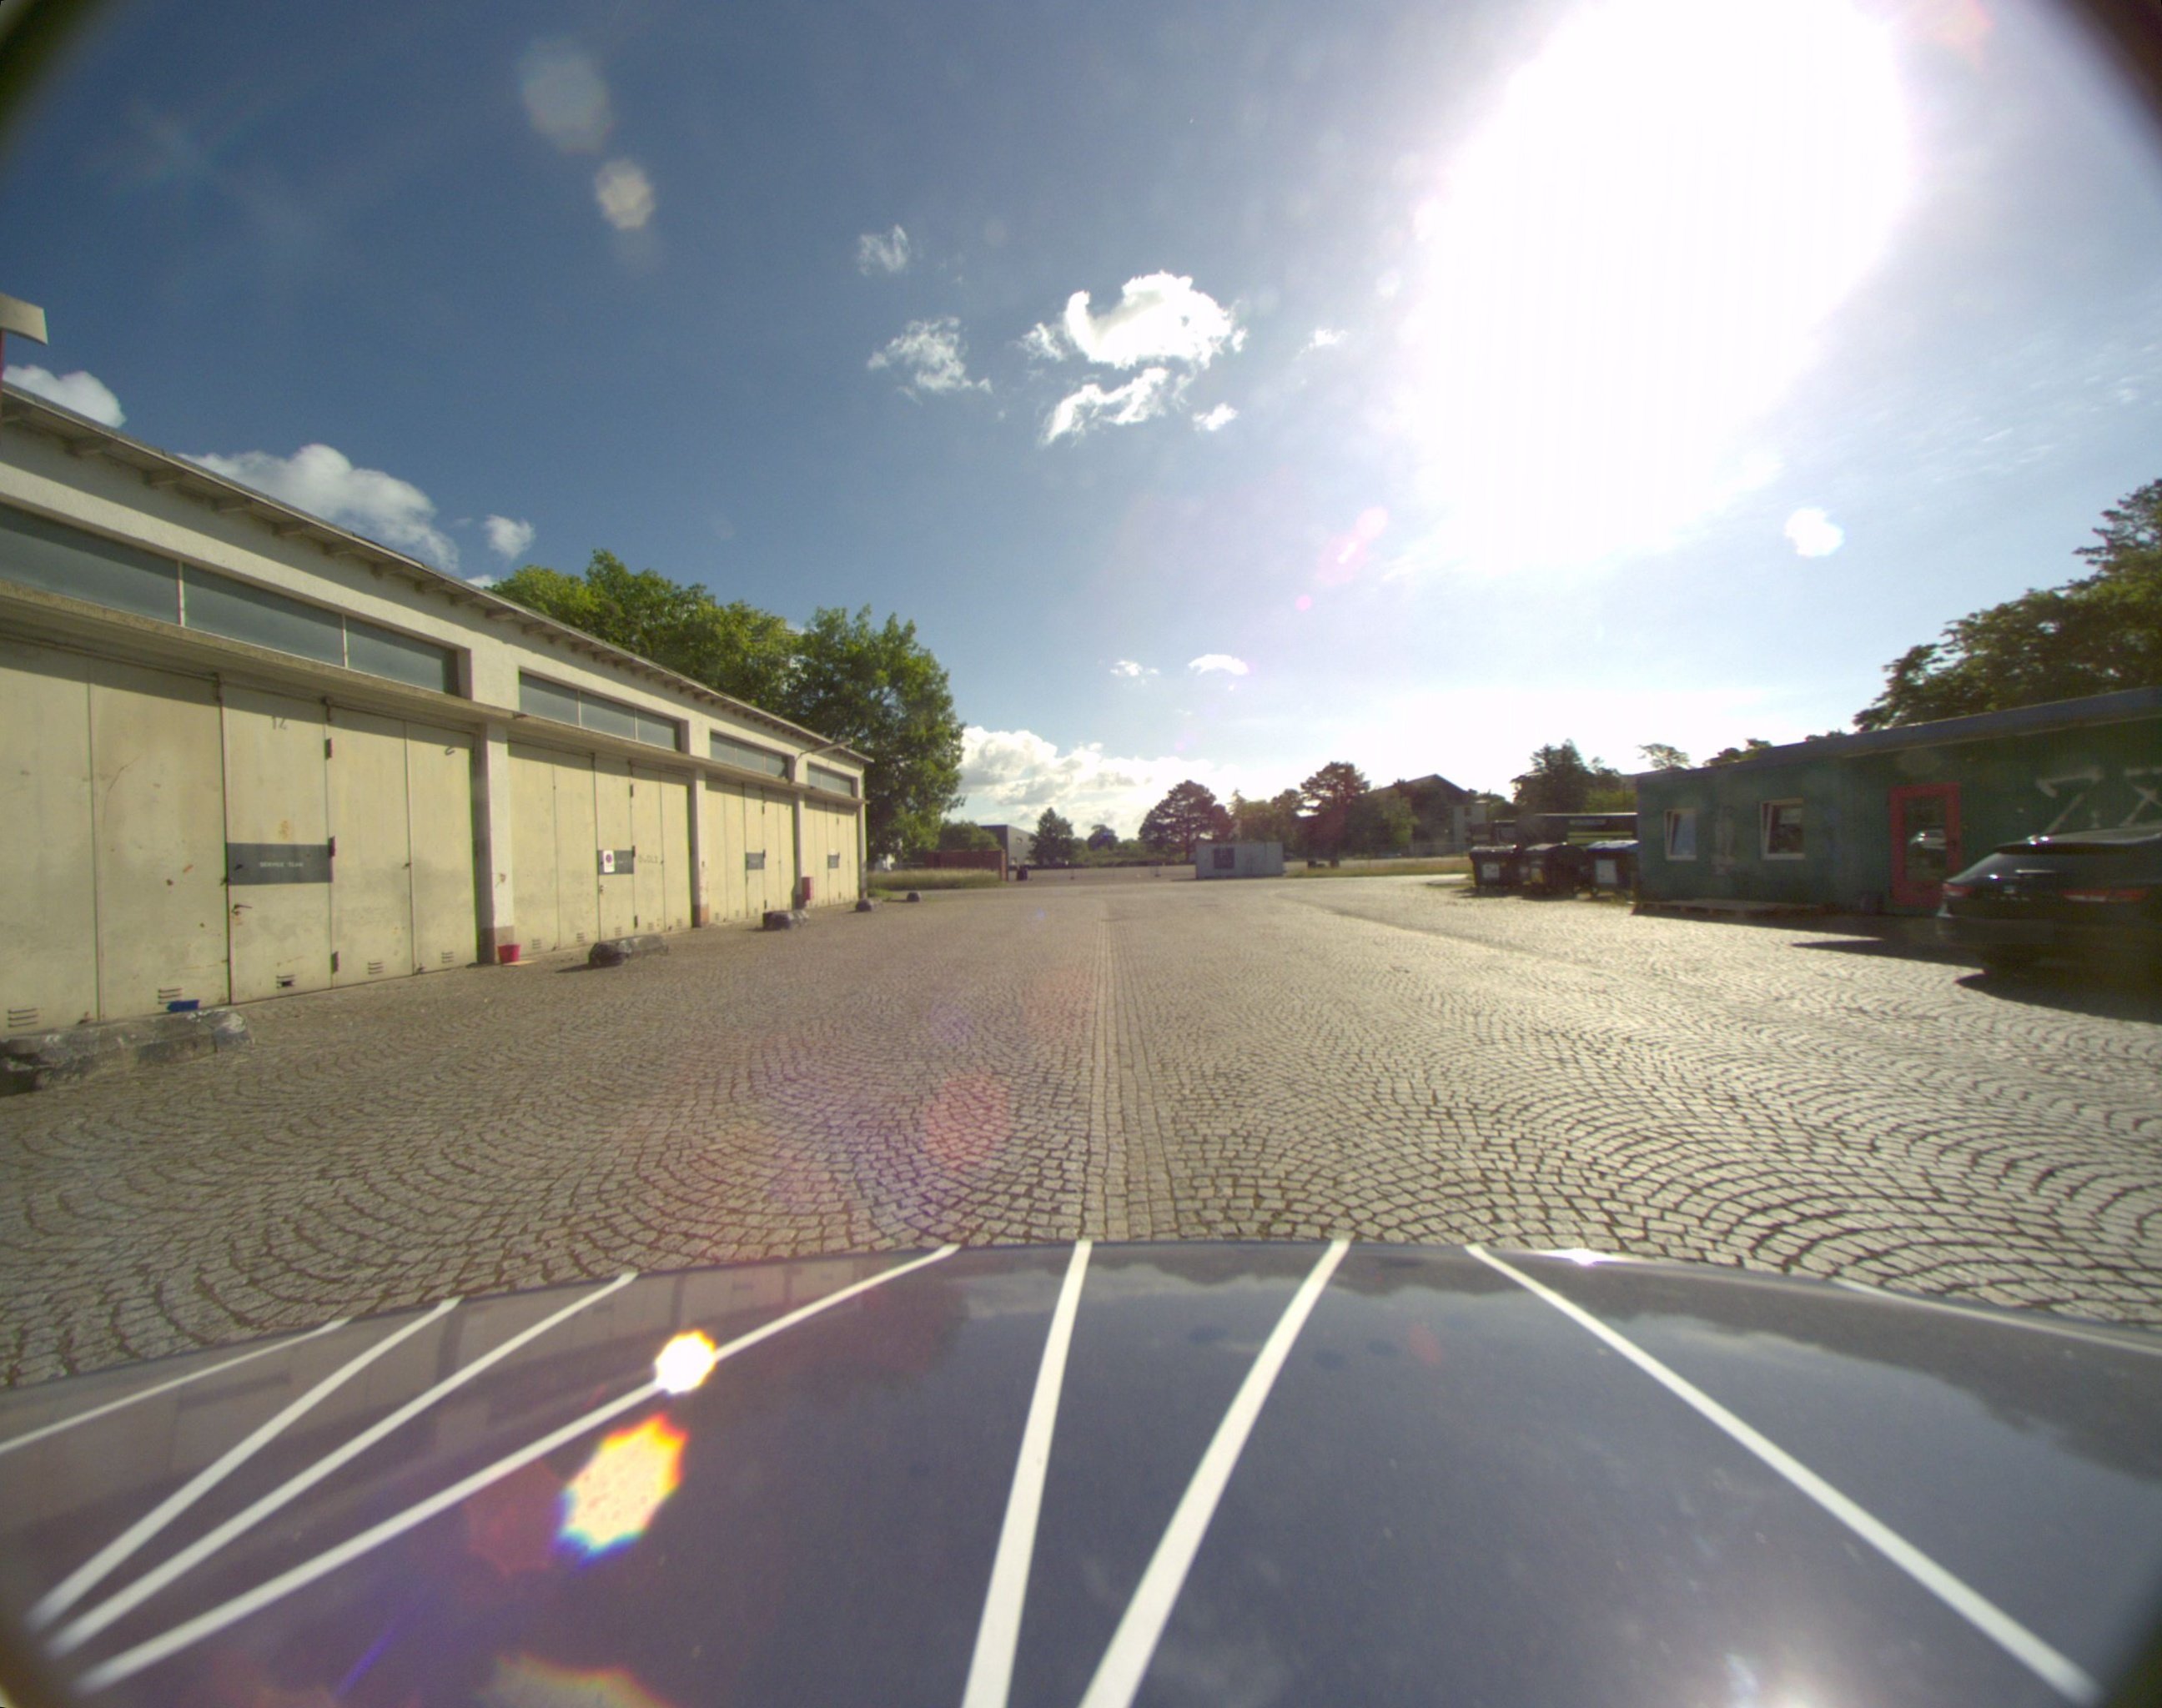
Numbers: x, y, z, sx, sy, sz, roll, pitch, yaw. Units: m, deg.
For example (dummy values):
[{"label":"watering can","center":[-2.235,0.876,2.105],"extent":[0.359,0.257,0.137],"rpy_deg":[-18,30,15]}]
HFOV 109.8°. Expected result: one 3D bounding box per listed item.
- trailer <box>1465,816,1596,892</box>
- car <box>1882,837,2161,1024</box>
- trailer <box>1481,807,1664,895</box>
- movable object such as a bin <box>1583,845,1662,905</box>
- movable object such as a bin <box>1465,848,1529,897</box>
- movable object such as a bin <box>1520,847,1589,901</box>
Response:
[{"label":"trailer","center":[15.971,0.008,27.151],"extent":[3.393,2.455,2.044],"rpy_deg":[-3,1,3]},{"label":"car","center":[10.811,0.587,7.265],"extent":[4.262,1.441,1.931],"rpy_deg":[-3,1,0]},{"label":"trailer","center":[15.867,-0.105,24.700],"extent":[4.649,2.553,1.951],"rpy_deg":[-3,1,-2]},{"label":"movable object such as a bin","center":[14.080,0.524,19.813],"extent":[0.885,1.449,1.439],"rpy_deg":[-3,1,-9]},{"label":"movable object such as a bin","center":[12.945,0.575,23.637],"extent":[1.435,1.449,1.158],"rpy_deg":[-2,1,45]},{"label":"movable object such as a bin","center":[13.378,0.544,21.513],"extent":[1.020,1.449,1.440],"rpy_deg":[-3,1,1]}]
